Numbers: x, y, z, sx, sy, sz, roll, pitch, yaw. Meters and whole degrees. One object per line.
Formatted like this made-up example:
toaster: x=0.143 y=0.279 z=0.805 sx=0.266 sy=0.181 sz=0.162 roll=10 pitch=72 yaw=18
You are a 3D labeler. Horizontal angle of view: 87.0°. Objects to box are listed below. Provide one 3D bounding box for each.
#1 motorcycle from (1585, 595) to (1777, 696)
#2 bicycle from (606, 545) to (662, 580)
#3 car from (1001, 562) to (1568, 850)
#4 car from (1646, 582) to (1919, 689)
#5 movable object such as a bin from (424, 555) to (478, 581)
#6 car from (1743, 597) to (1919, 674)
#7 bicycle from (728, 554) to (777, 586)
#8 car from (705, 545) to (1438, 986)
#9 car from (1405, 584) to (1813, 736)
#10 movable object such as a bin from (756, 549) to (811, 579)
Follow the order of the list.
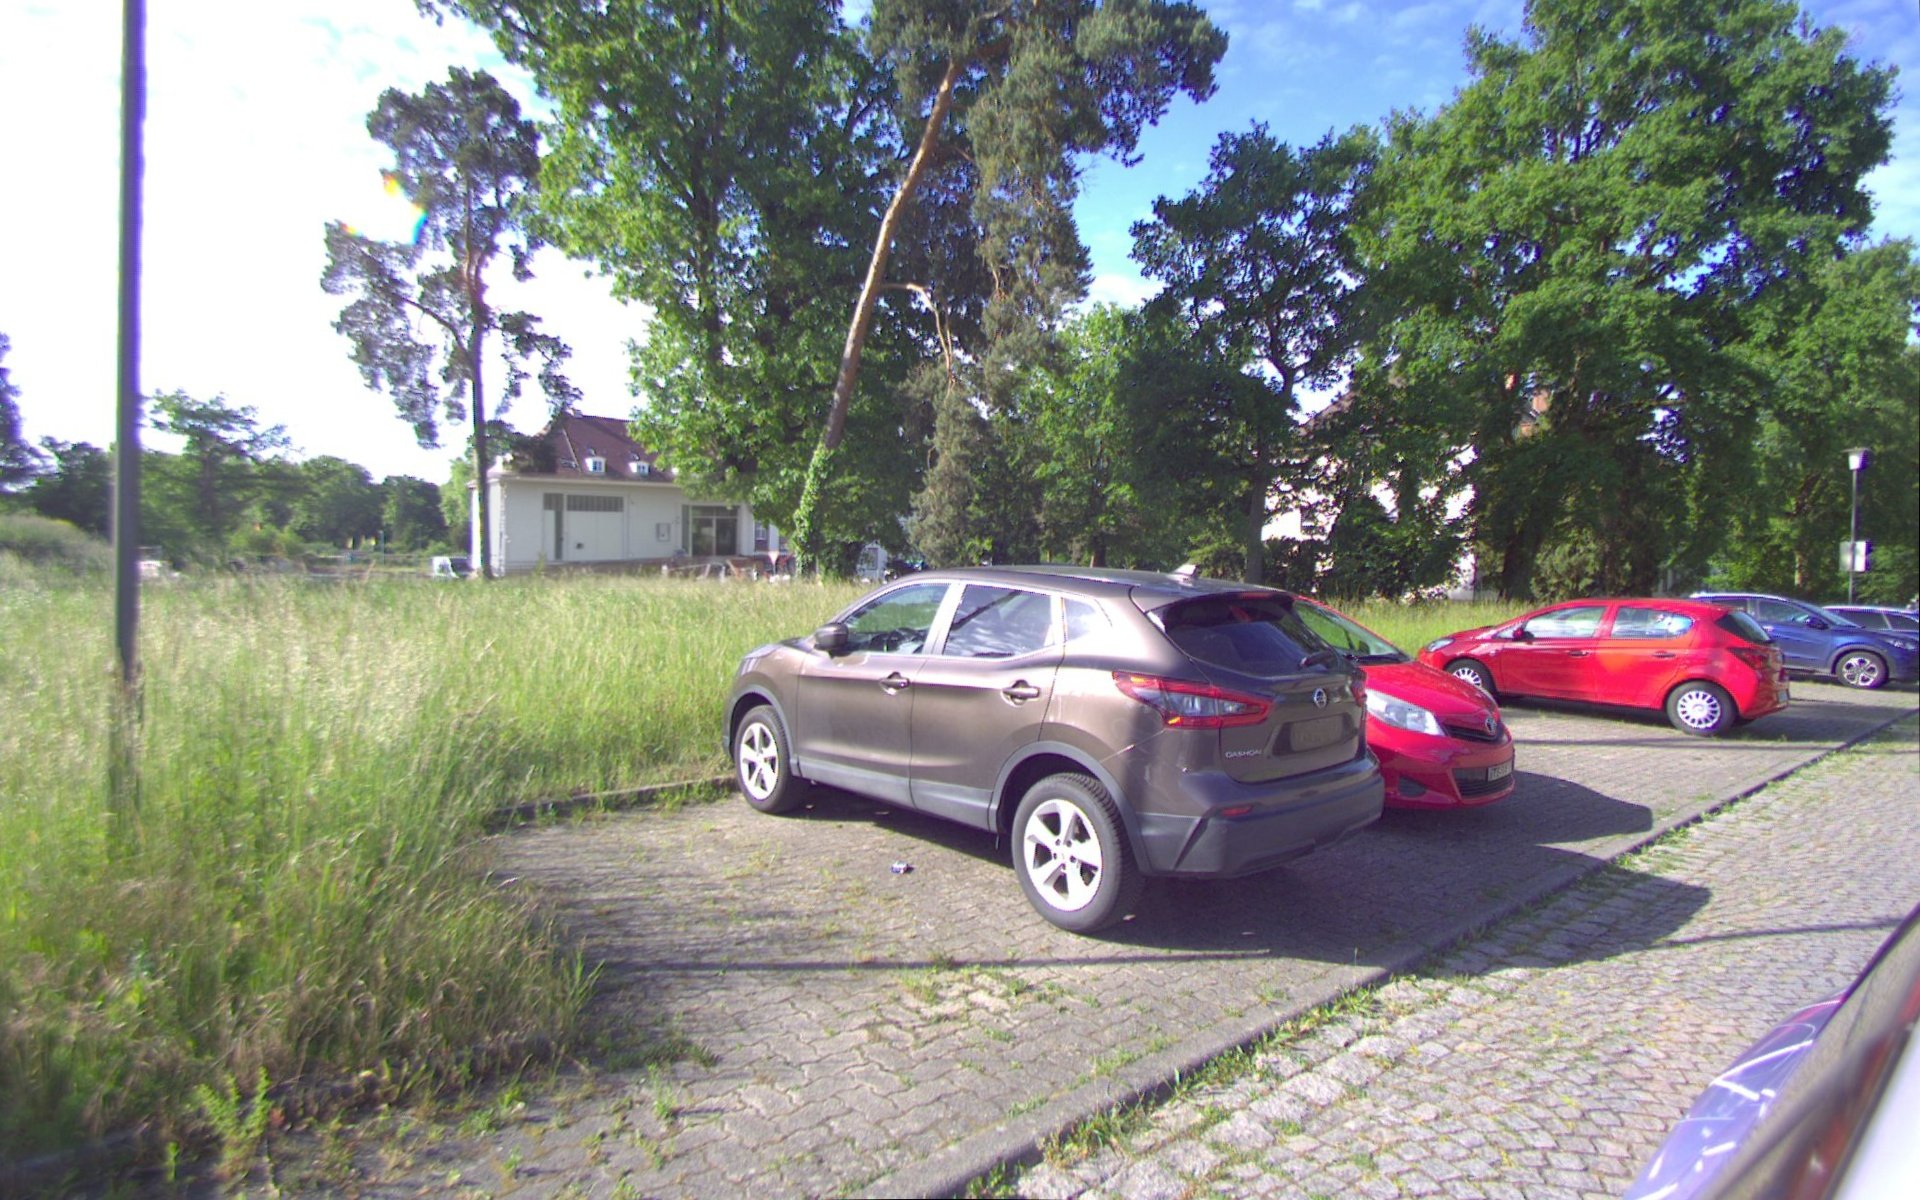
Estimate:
motorcycle: x=11.065 y=0.648 z=15.611 sx=0.863 sy=1.370 sz=2.236 roll=1 pitch=1 yaw=-38
bicycle: x=-19.616 y=-2.275 z=60.905 sx=3.077 sy=2.038 sz=0.952 roll=-2 pitch=3 yaw=-42
car: x=2.233 y=0.554 z=7.800 sx=1.673 sy=1.557 sz=3.835 roll=0 pitch=3 yaw=-39
car: x=15.647 y=0.578 z=18.999 sx=1.622 sy=1.618 sz=4.273 roll=0 pitch=3 yaw=-40
movable object such as a bin: x=-43.731 y=-2.754 z=86.902 sx=5.714 sy=2.038 sz=2.092 roll=3 pitch=2 yaw=41
car: x=19.427 y=0.728 z=21.757 sx=1.715 sy=1.484 sz=3.809 roll=0 pitch=1 yaw=-39
bicycle: x=-13.593 y=-2.007 z=66.328 sx=3.077 sy=2.038 sz=0.952 roll=-2 pitch=3 yaw=-42
car: x=0.296 y=0.533 z=5.886 sx=1.755 sy=1.631 sz=4.115 roll=0 pitch=2 yaw=-41
car: x=7.851 y=0.600 z=12.568 sx=1.513 sy=1.514 sz=3.995 roll=0 pitch=1 yaw=-40
movable object such as a bin: x=-17.860 y=-3.625 z=102.318 sx=4.974 sy=2.937 sz=2.182 roll=0 pitch=2 yaw=-33
